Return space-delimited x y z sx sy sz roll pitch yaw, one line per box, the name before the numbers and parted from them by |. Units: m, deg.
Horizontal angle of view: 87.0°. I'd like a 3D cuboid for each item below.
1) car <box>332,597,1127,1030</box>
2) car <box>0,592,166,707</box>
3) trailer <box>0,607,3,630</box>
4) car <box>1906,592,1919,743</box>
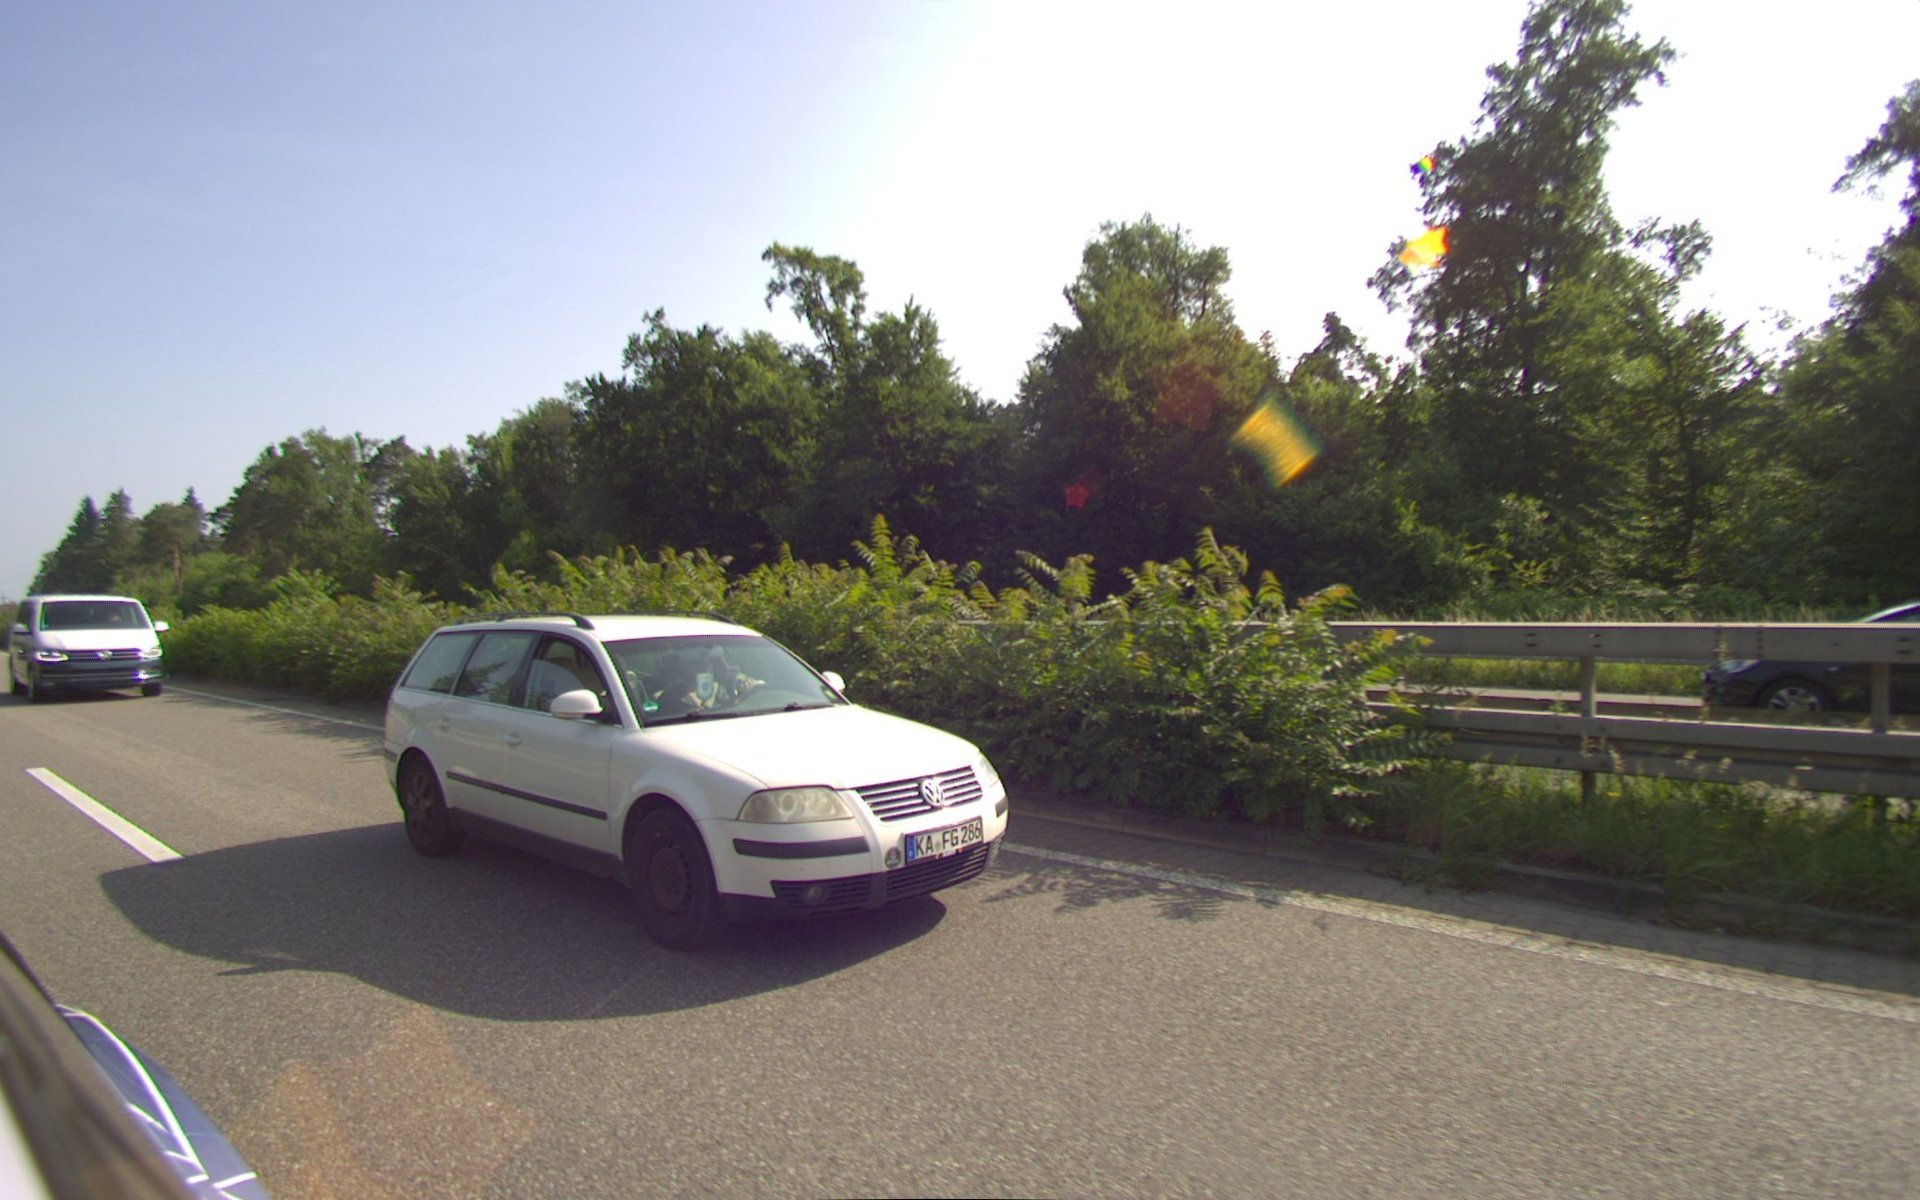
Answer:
car | -1.761 0.775 5.886 5.260 1.497 1.732 -1 -1 41
car | -16.986 0.876 19.504 4.705 1.960 1.887 -1 -1 42
trailer | -182.528 3.574 190.336 12.408 4.241 2.802 -1 -2 42
car | 11.492 0.624 9.157 4.210 1.483 1.607 -1 -1 42
